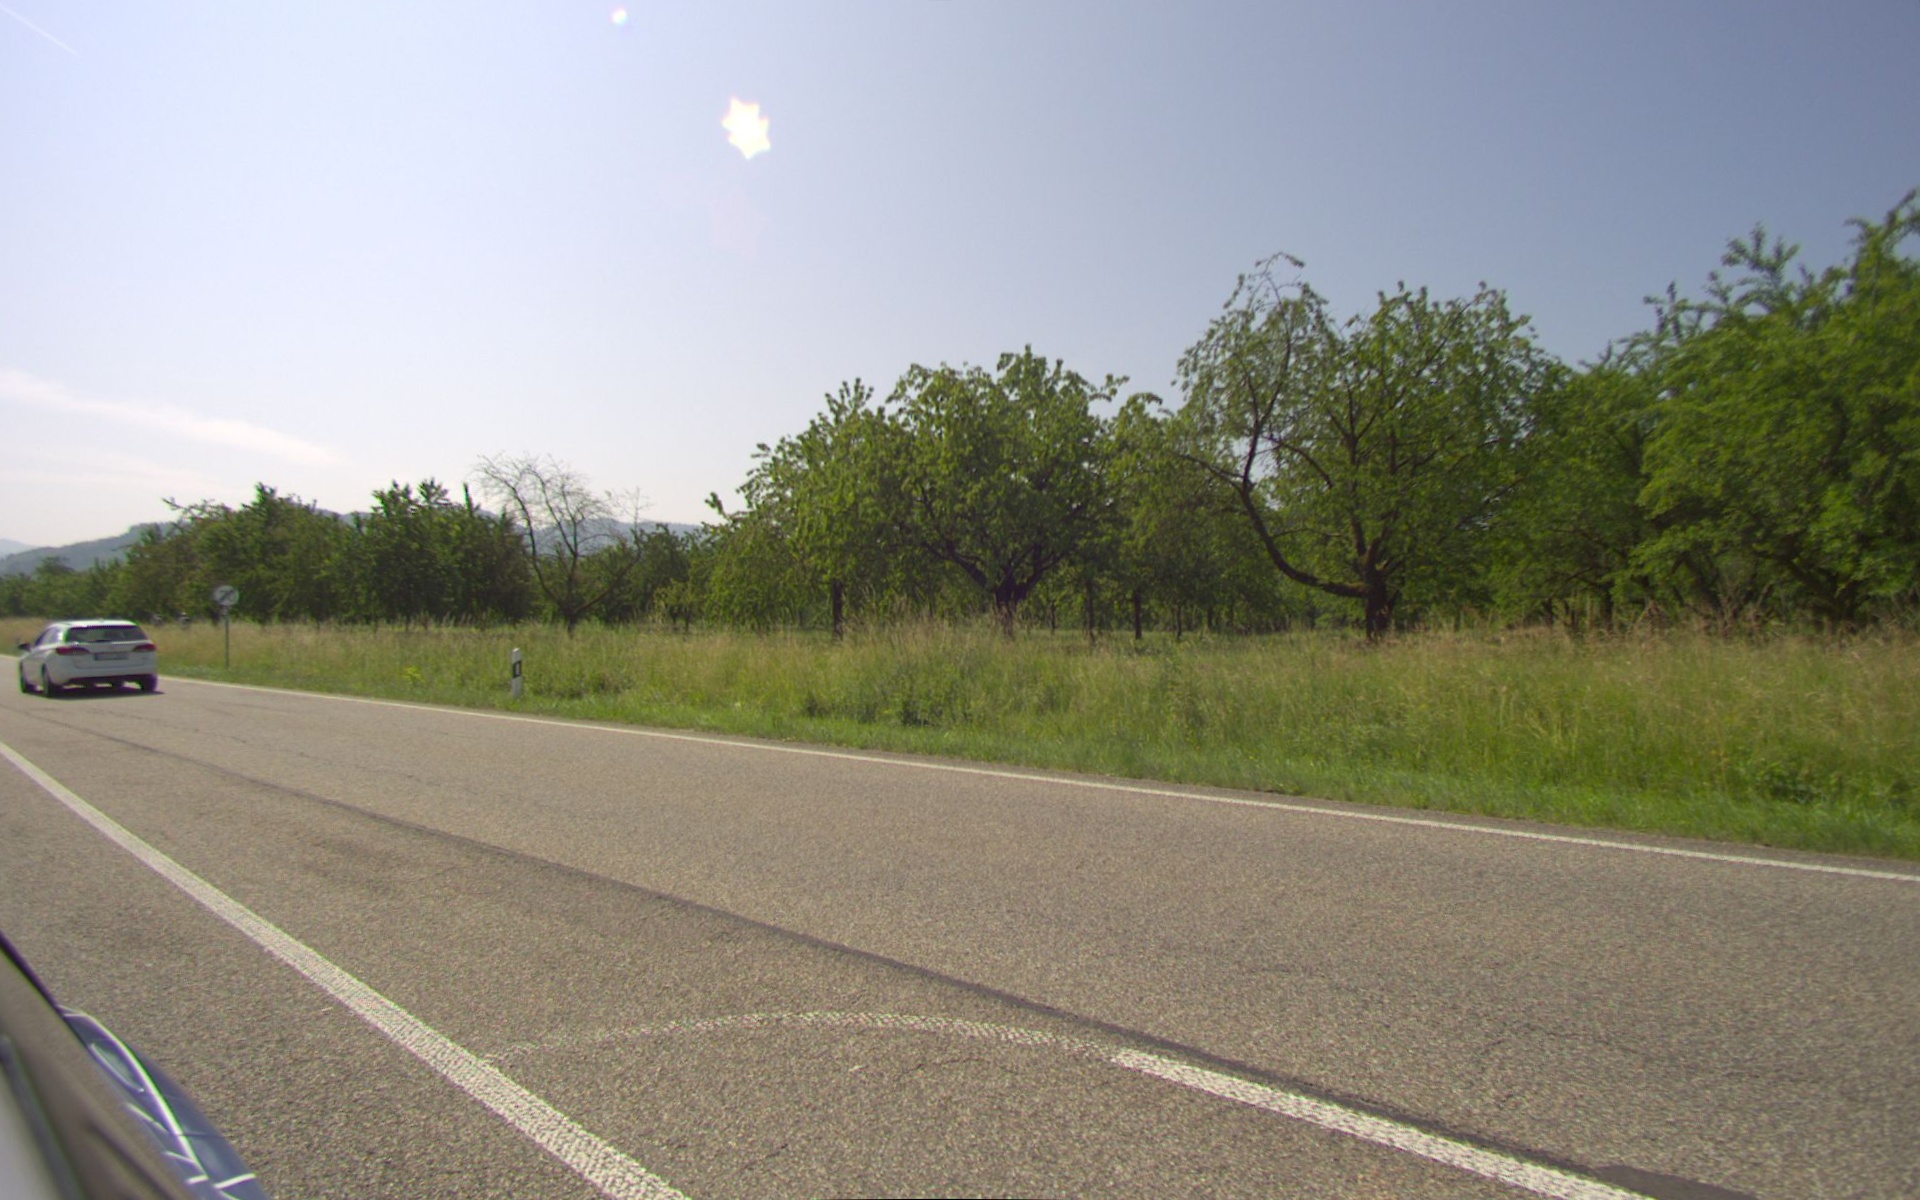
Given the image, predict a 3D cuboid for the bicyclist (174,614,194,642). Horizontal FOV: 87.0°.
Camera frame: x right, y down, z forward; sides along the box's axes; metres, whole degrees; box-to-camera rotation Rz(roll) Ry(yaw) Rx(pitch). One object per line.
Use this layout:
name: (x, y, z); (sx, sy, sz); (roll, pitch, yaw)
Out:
bicyclist: (-42.437, 1.518, 55.340); (0.863, 1.466, 0.732); (0, 0, 42)

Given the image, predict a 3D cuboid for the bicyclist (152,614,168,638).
bicyclist: (-49.164, 1.598, 62.196); (0.863, 1.425, 0.634); (0, 0, 42)

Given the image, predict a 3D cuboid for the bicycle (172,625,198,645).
bicycle: (-42.394, 1.922, 55.317); (2.224, 0.997, 0.732); (0, 0, 42)

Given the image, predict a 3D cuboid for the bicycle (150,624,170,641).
bicycle: (-49.168, 1.980, 62.200); (1.955, 0.997, 0.642); (0, 0, 42)

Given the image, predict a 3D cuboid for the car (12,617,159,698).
car: (-18.269, 1.130, 21.088); (4.133, 1.505, 1.658); (-1, 0, 39)
